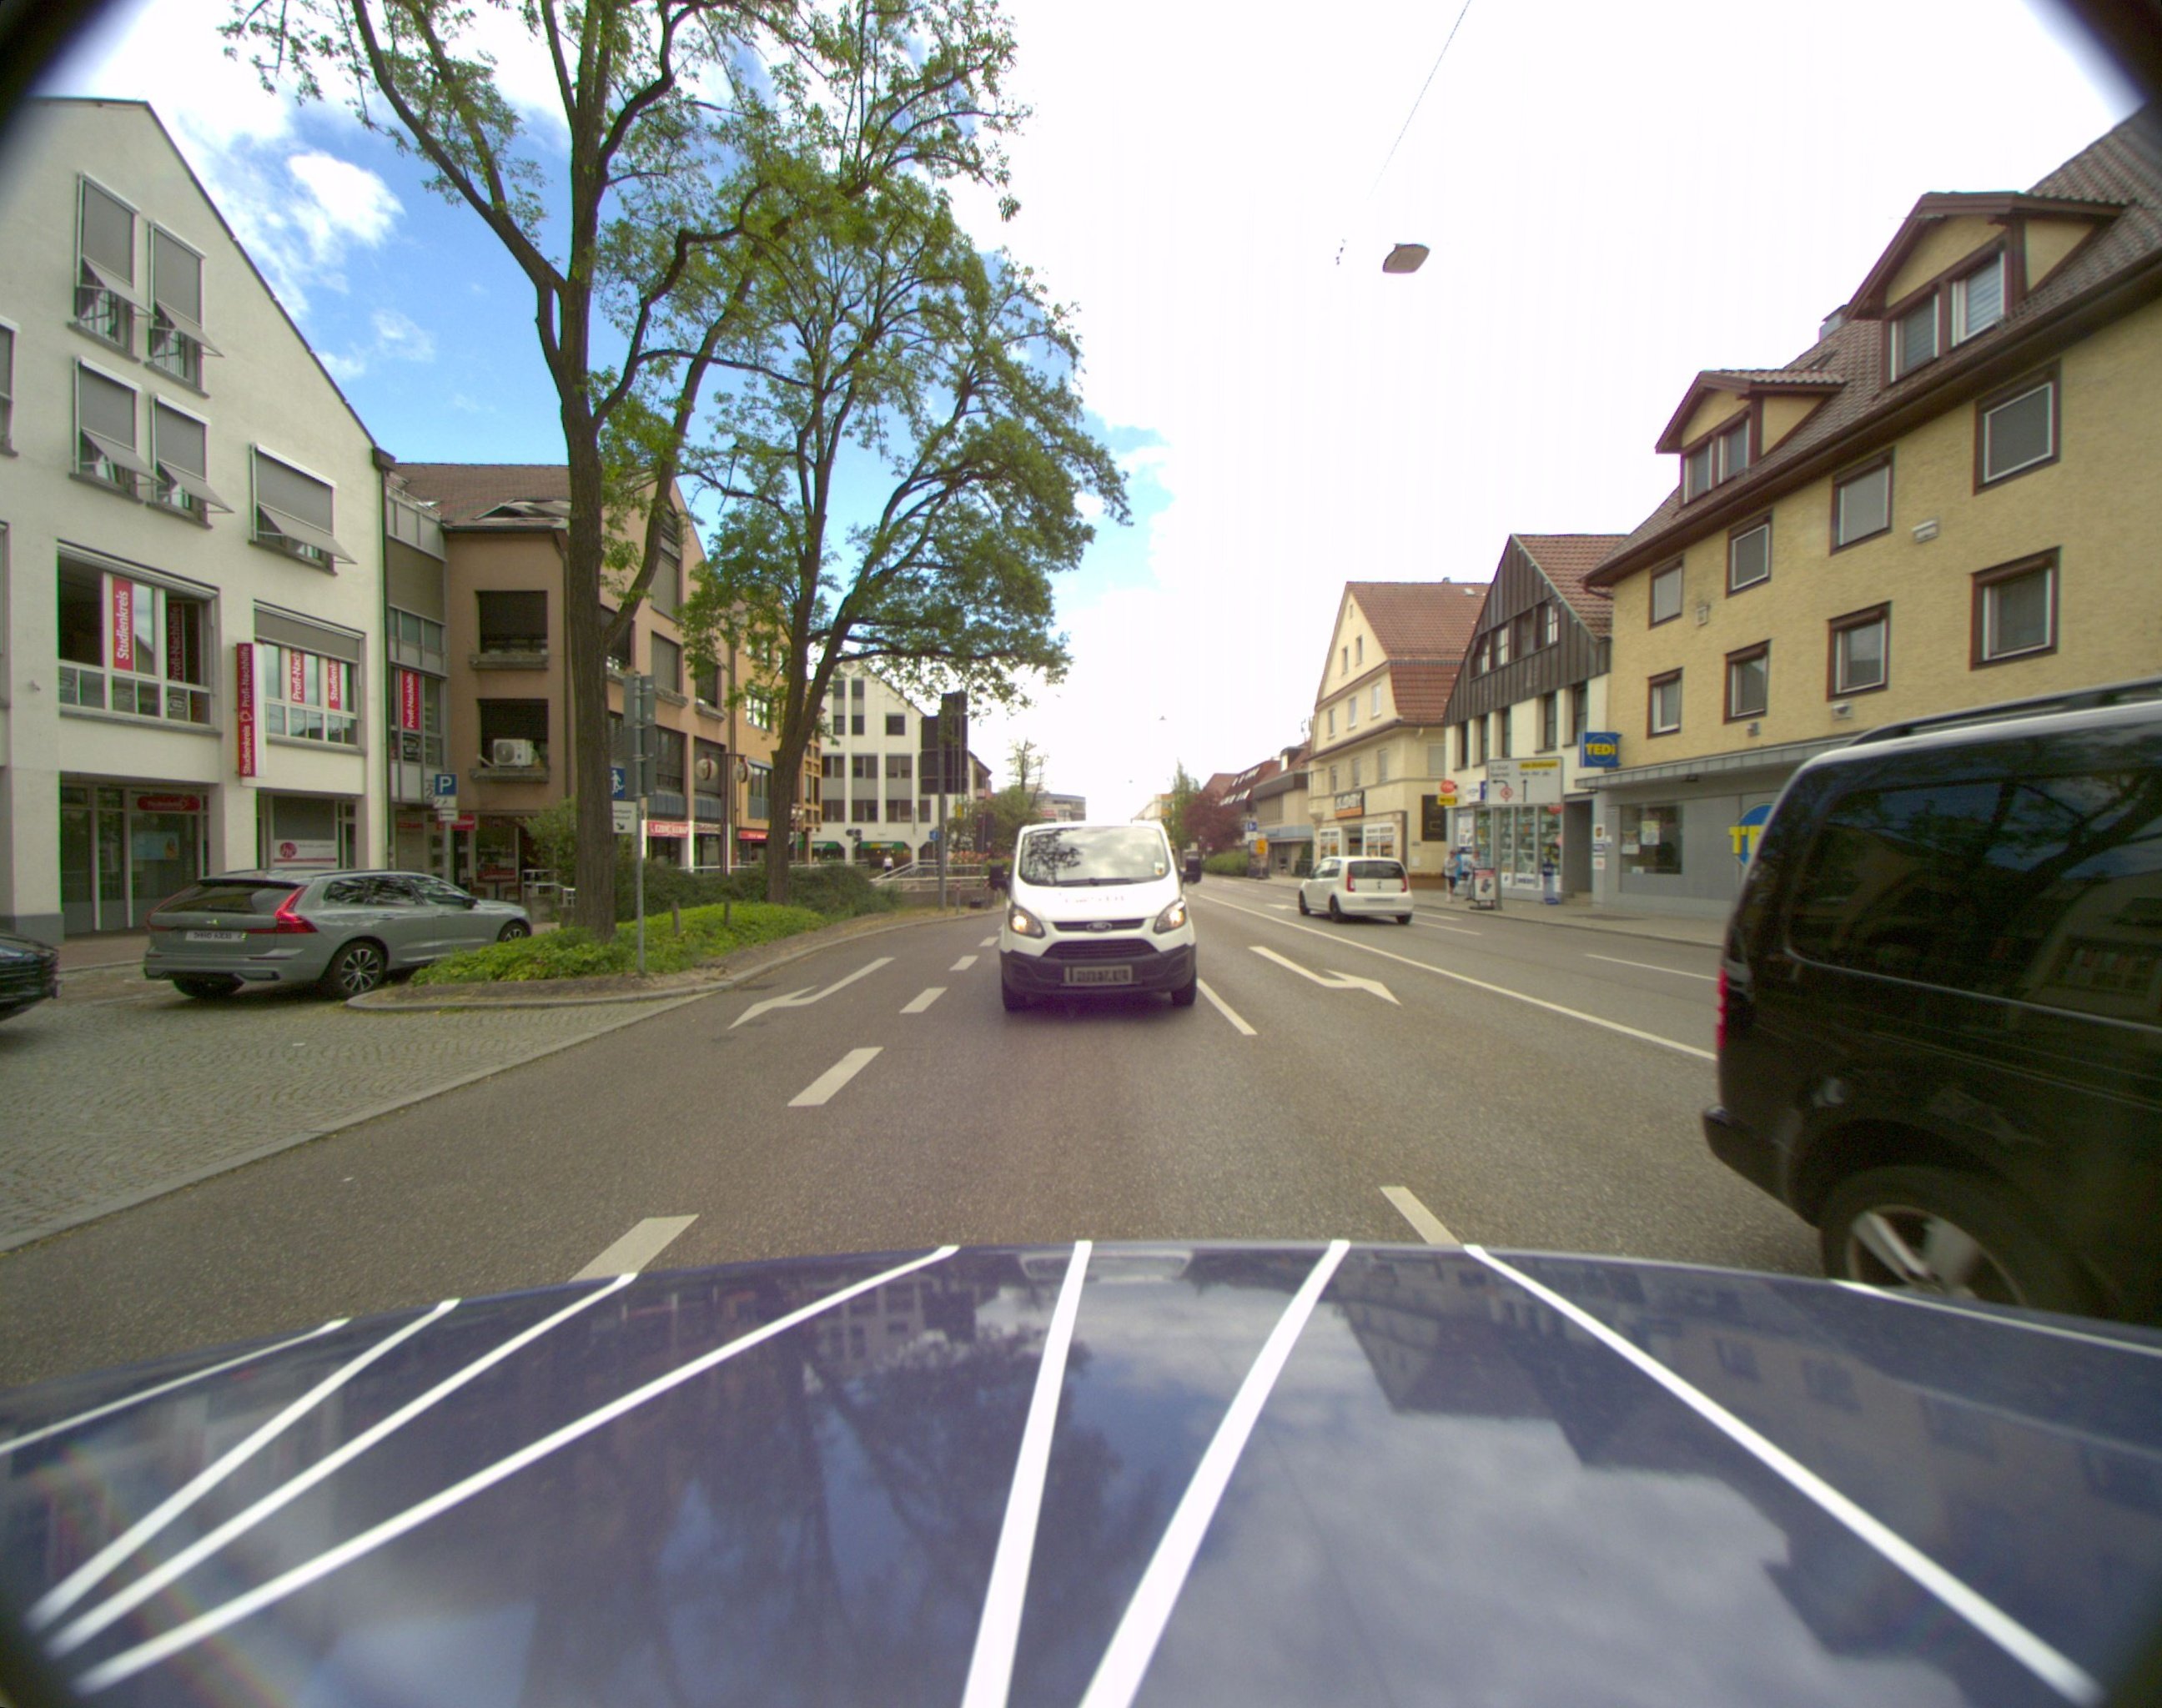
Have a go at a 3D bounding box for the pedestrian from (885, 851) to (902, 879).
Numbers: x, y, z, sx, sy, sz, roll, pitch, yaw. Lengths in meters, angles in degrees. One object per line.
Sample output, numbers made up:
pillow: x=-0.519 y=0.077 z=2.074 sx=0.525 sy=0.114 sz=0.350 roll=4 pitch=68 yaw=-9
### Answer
pedestrian: x=-12.513 y=0.715 z=50.779 sx=0.871 sy=1.812 sz=0.785 roll=-2 pitch=1 yaw=-4

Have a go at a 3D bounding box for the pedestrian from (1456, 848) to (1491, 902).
pedestrian: x=12.584 y=0.657 z=24.373 sx=0.689 sy=1.660 sz=0.709 roll=-3 pitch=0 yaw=0

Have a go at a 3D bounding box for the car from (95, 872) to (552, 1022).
car: x=-10.316 y=1.114 z=11.080 sx=1.999 sy=1.586 sz=4.762 roll=0 pitch=0 yaw=-2

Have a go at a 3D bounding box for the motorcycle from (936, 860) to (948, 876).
motorcycle: x=-9.779 y=0.958 z=53.647 sx=0.464 sy=1.062 sz=1.995 roll=0 pitch=0 yaw=1

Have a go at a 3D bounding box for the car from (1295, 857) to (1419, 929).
car: x=6.167 y=0.808 z=17.376 sx=1.578 sy=1.480 sz=3.464 roll=0 pitch=0 yaw=0

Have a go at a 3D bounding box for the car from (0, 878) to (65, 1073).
car: x=-11.615 y=1.072 z=5.687 sx=1.853 sy=1.660 sz=4.673 roll=1 pitch=0 yaw=41

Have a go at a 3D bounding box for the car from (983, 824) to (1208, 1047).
car: x=0.140 y=0.711 z=9.272 sx=1.964 sy=1.948 sz=5.164 roll=-1 pitch=0 yaw=0

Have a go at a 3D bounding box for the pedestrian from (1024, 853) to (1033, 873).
pedestrian: x=-4.204 y=0.679 z=60.519 sx=0.653 sy=1.568 sz=0.684 roll=-1 pitch=1 yaw=1

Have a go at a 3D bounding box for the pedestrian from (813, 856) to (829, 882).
pedestrian: x=-18.101 y=1.037 z=52.863 sx=0.887 sy=1.747 sz=0.943 roll=-1 pitch=0 yaw=-11

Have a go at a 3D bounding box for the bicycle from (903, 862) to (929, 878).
bicycle: x=-10.515 y=1.031 z=48.478 sx=1.594 sy=0.963 sz=0.461 roll=-1 pitch=1 yaw=-14

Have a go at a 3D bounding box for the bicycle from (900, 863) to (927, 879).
bicycle: x=-10.496 y=1.073 z=47.628 sx=1.594 sy=0.996 sz=0.414 roll=-1 pitch=1 yaw=-13

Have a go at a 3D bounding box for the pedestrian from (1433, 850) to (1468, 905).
pedestrian: x=11.632 y=0.720 z=23.942 sx=0.689 sy=1.680 sz=0.742 roll=-2 pitch=1 yaw=0

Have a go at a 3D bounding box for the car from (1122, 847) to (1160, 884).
car: x=3.313 y=0.640 z=42.870 sx=1.830 sy=1.948 sz=4.852 roll=-1 pitch=0 yaw=1

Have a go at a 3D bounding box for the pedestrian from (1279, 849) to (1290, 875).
pedestrian: x=14.970 y=0.561 z=56.011 sx=0.551 sy=1.878 sz=0.592 roll=-2 pitch=1 yaw=-4

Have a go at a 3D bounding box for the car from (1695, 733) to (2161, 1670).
car: x=2.953 y=0.660 z=0.269 sx=1.748 sy=1.844 sz=4.634 roll=-2 pitch=0 yaw=1

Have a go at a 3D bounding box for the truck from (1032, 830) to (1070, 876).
truck: x=-2.366 y=-0.106 z=62.637 sx=2.446 sy=3.464 sz=8.347 roll=-2 pitch=1 yaw=1
